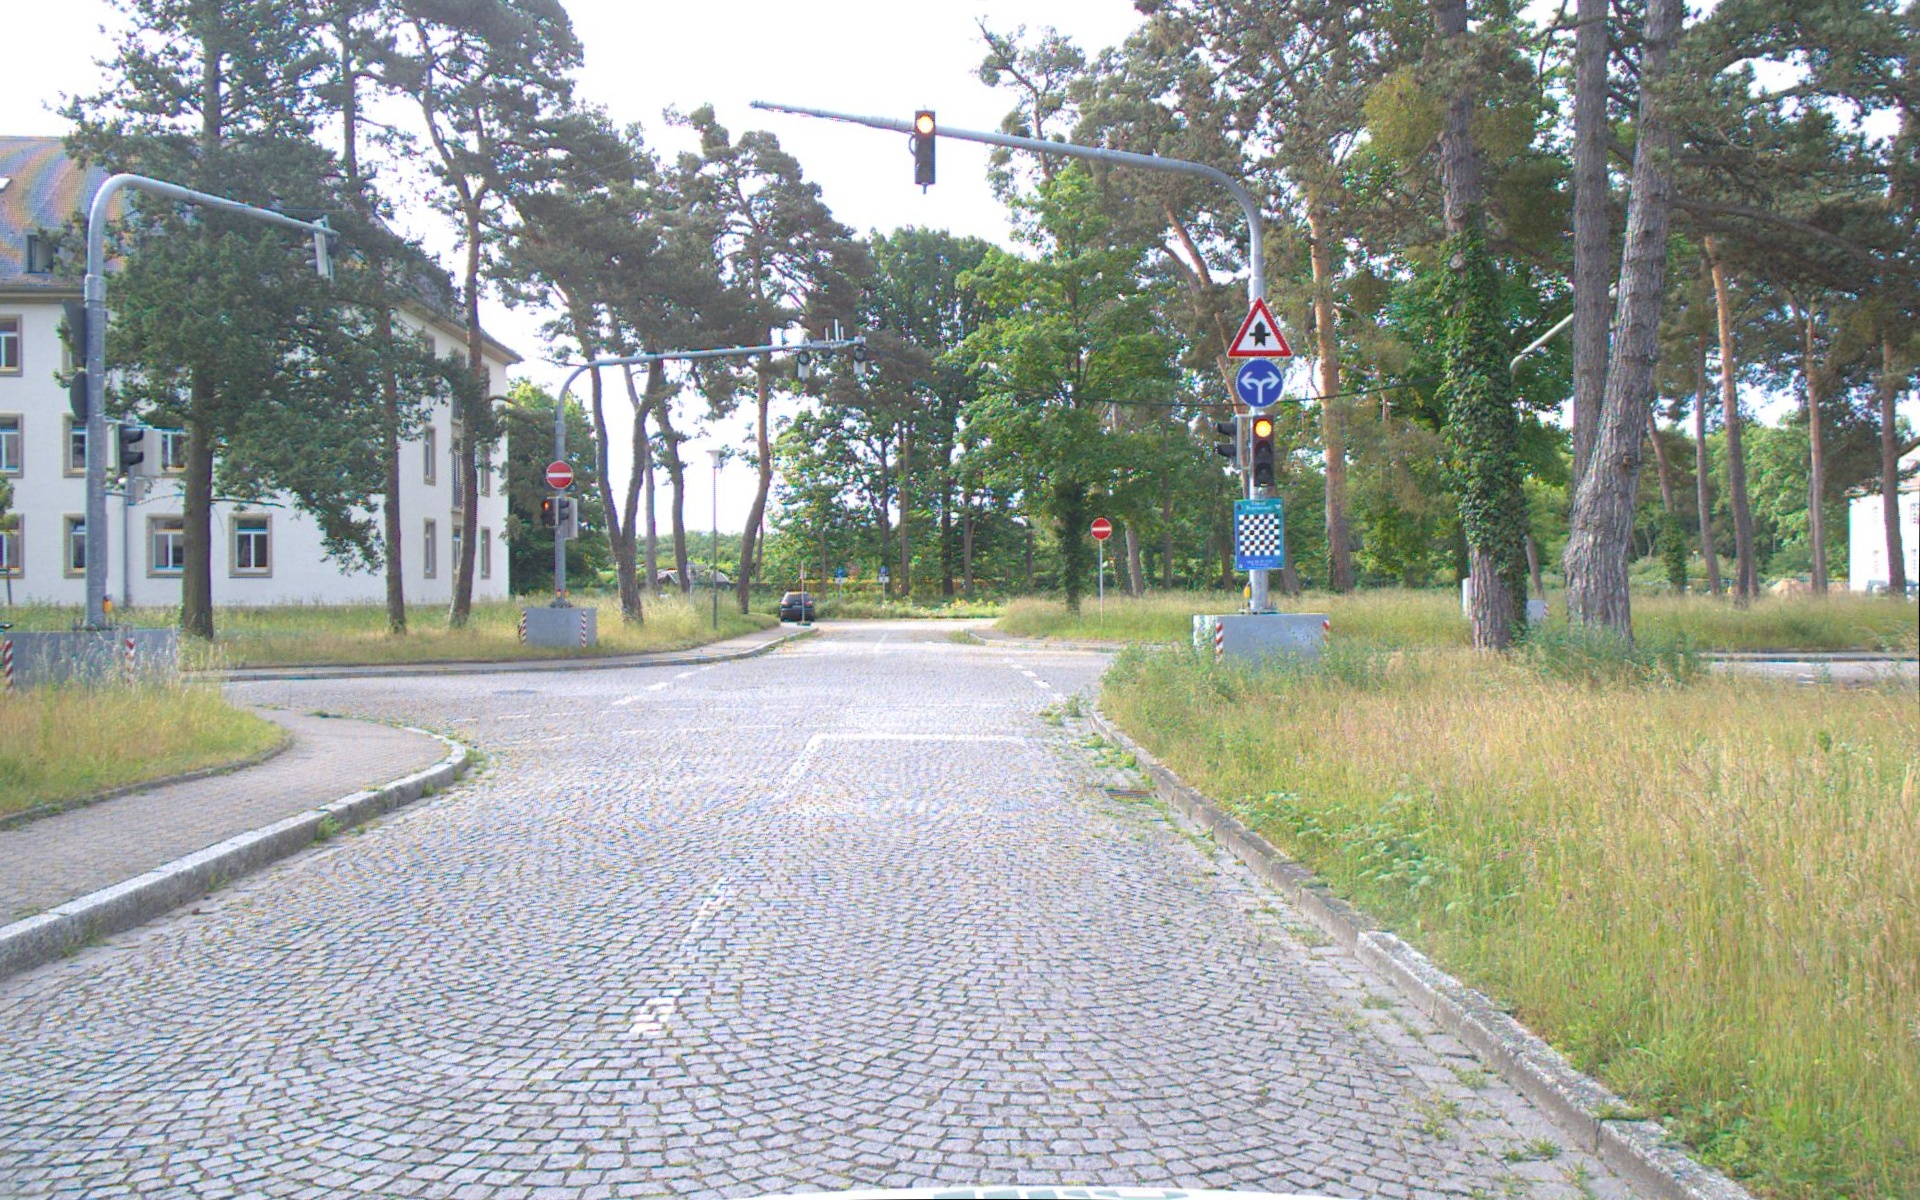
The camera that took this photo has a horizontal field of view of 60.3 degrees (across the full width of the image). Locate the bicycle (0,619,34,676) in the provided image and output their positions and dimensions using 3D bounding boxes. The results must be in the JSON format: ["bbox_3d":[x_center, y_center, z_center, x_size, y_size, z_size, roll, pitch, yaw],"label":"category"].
[{"bbox_3d":[-17.757,0.872,30.204,1.429,1.013,0.452,-1,0,-1],"label":"bicycle"}]

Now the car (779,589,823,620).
[{"bbox_3d":[-8.431,0.210,87.893,1.953,1.534,3.999,1,0,-1],"label":"car"}]

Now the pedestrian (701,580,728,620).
[{"bbox_3d":[-12.040,0.009,81.260,1.186,1.923,0.747,-1,0,0],"label":"pedestrian"}]

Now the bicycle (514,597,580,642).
[{"bbox_3d":[-9.475,0.446,37.962,1.432,1.013,0.451,-1,0,-9],"label":"bicycle"}]
